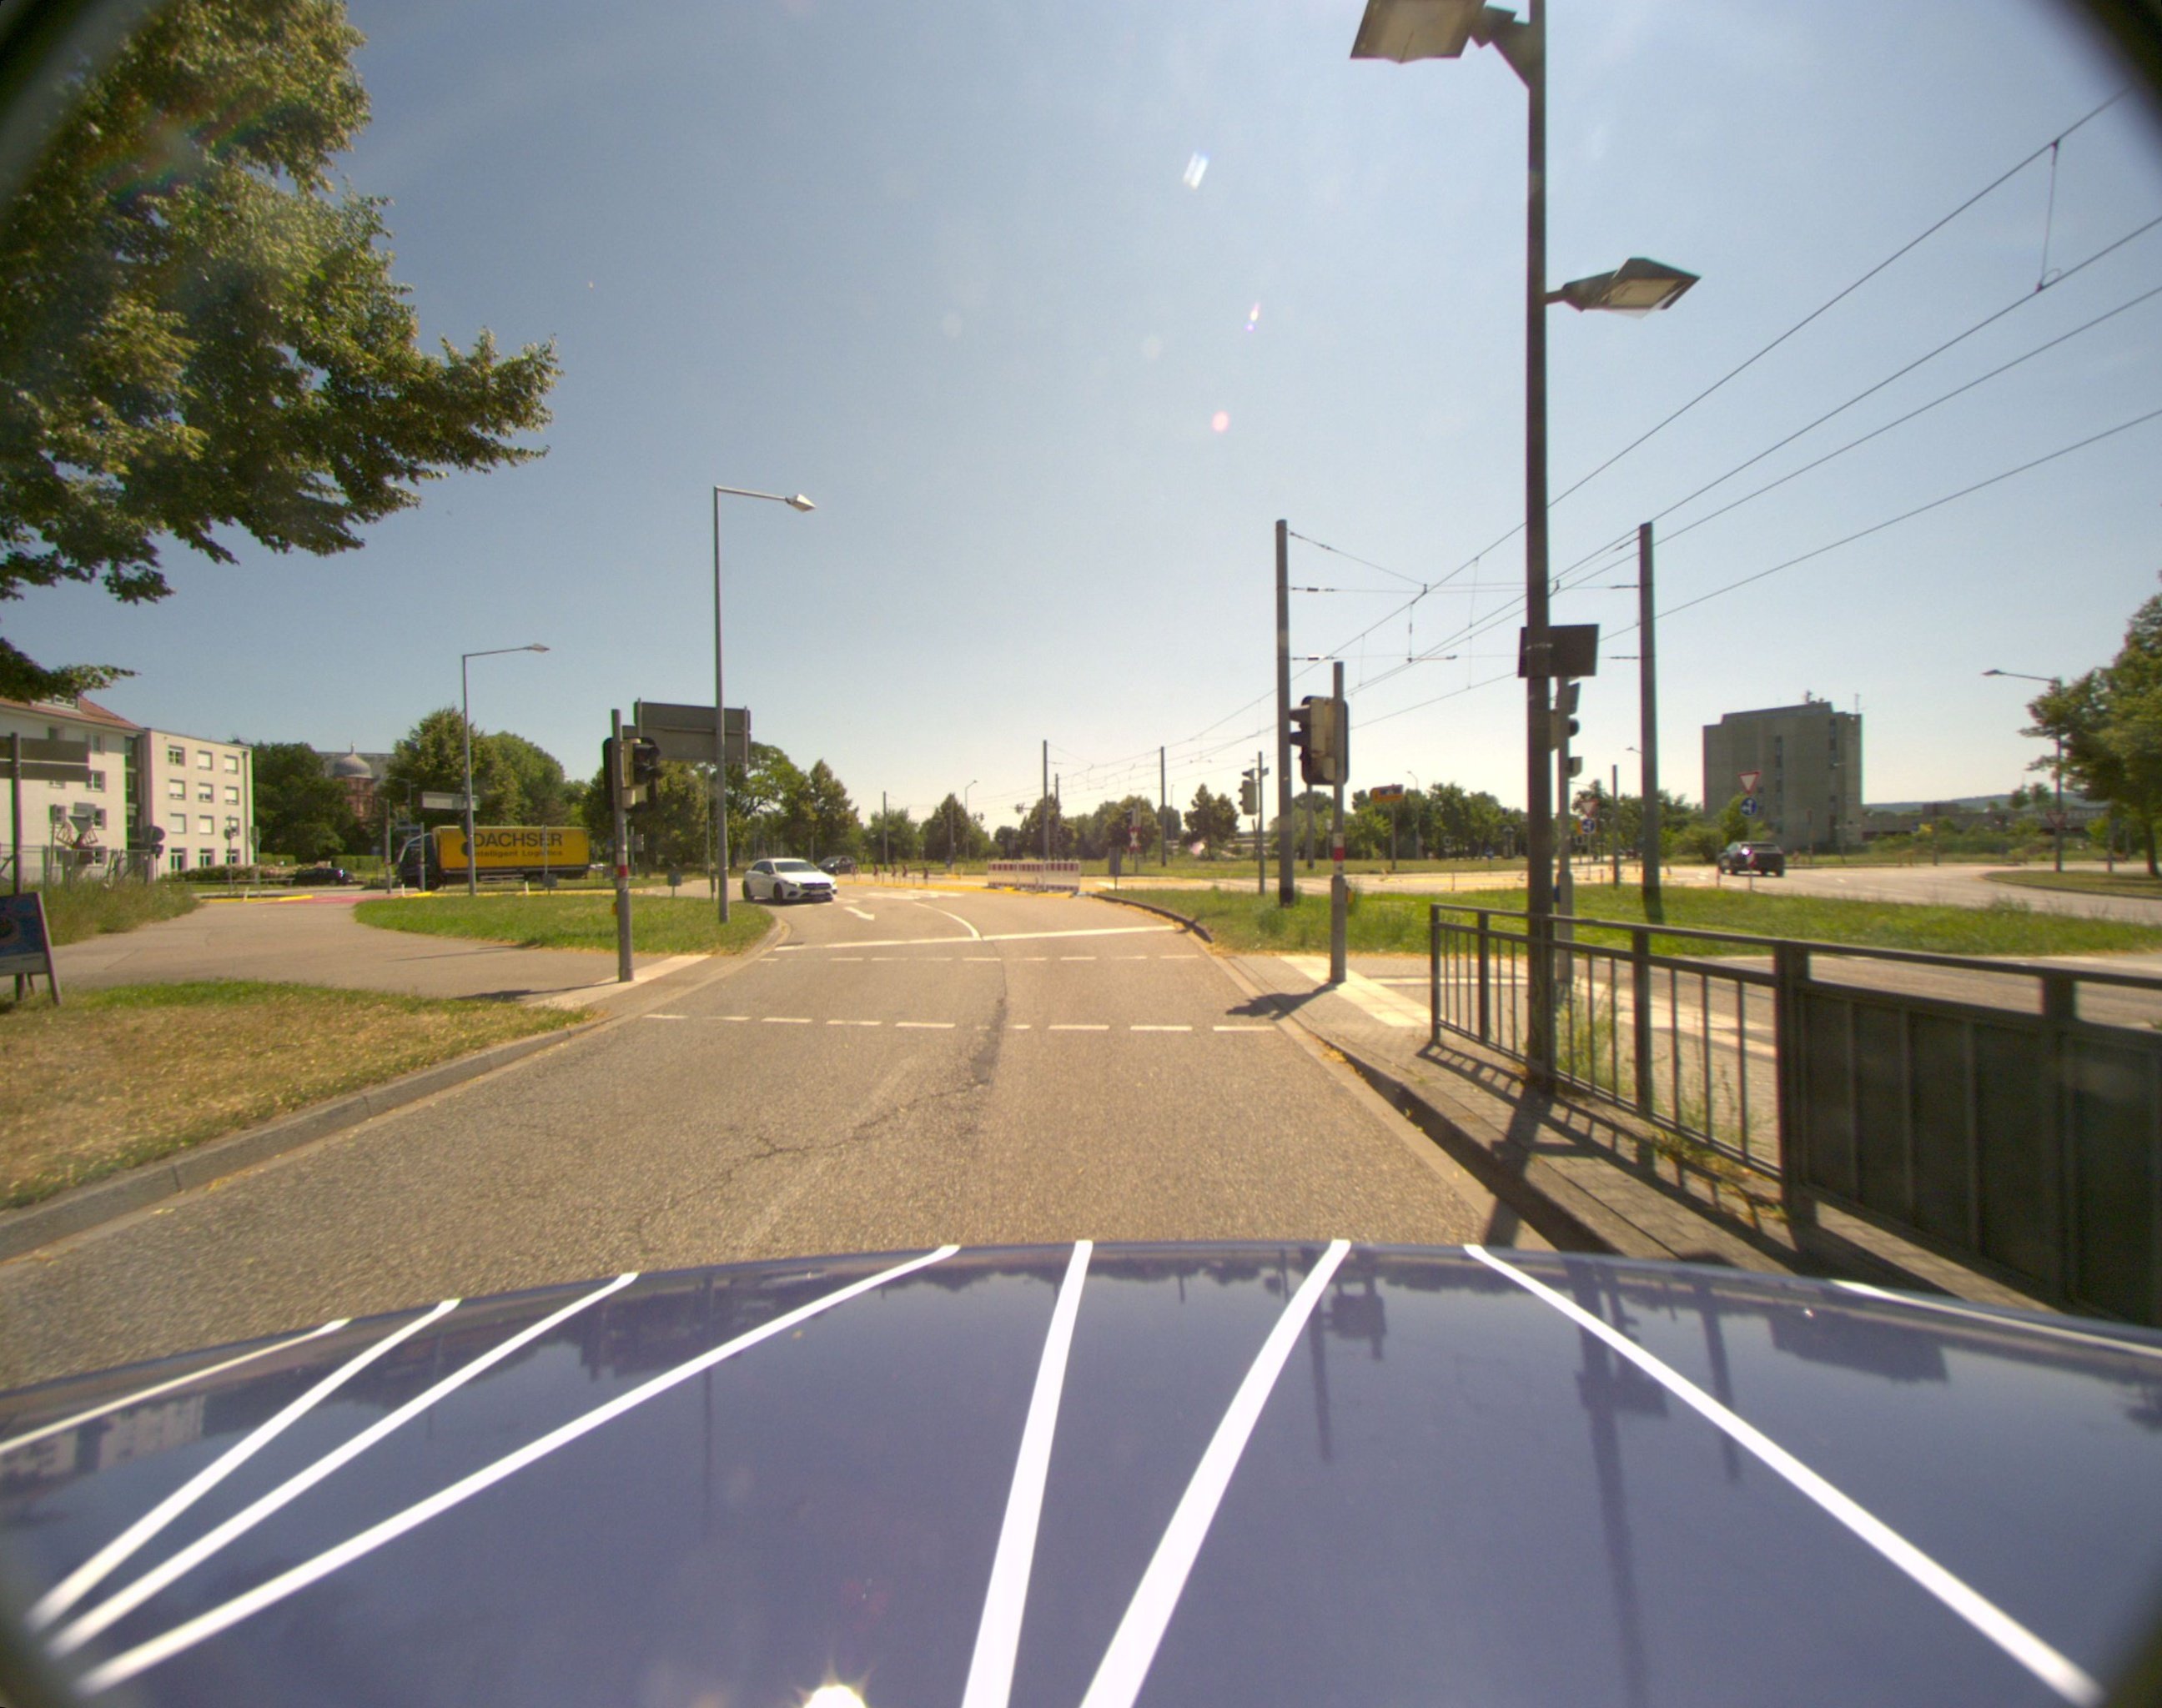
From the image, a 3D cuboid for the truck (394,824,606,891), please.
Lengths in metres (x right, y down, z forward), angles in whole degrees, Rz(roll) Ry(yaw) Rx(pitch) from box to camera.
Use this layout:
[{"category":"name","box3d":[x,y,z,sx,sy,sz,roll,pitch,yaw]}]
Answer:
[{"category":"truck","box3d":[-34.298,0.130,45.355,2.700,3.637,9.635,-1,1,41]}]

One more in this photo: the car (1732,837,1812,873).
[{"category":"car","box3d":[31.548,0.013,34.883,1.994,1.509,5.848,0,1,35]}]

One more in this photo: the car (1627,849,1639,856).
[{"category":"car","box3d":[101.890,-0.258,140.197,1.493,1.083,3.527,-1,1,40]}]

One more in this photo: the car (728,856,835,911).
[{"category":"car","box3d":[-9.795,0.879,24.738,1.785,1.537,3.951,-3,3,-45]}]

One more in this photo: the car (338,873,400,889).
[{"category":"car","box3d":[-59.319,2.265,63.323,3.516,1.210,1.354,-1,0,-17]}]

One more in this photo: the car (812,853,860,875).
[{"category":"car","box3d":[-17.638,0.694,54.885,1.978,1.410,4.001,-1,1,4]}]

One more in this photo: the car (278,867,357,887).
[{"category":"car","box3d":[-57.513,1.716,57.283,3.810,1.319,1.657,-1,0,-17]}]
